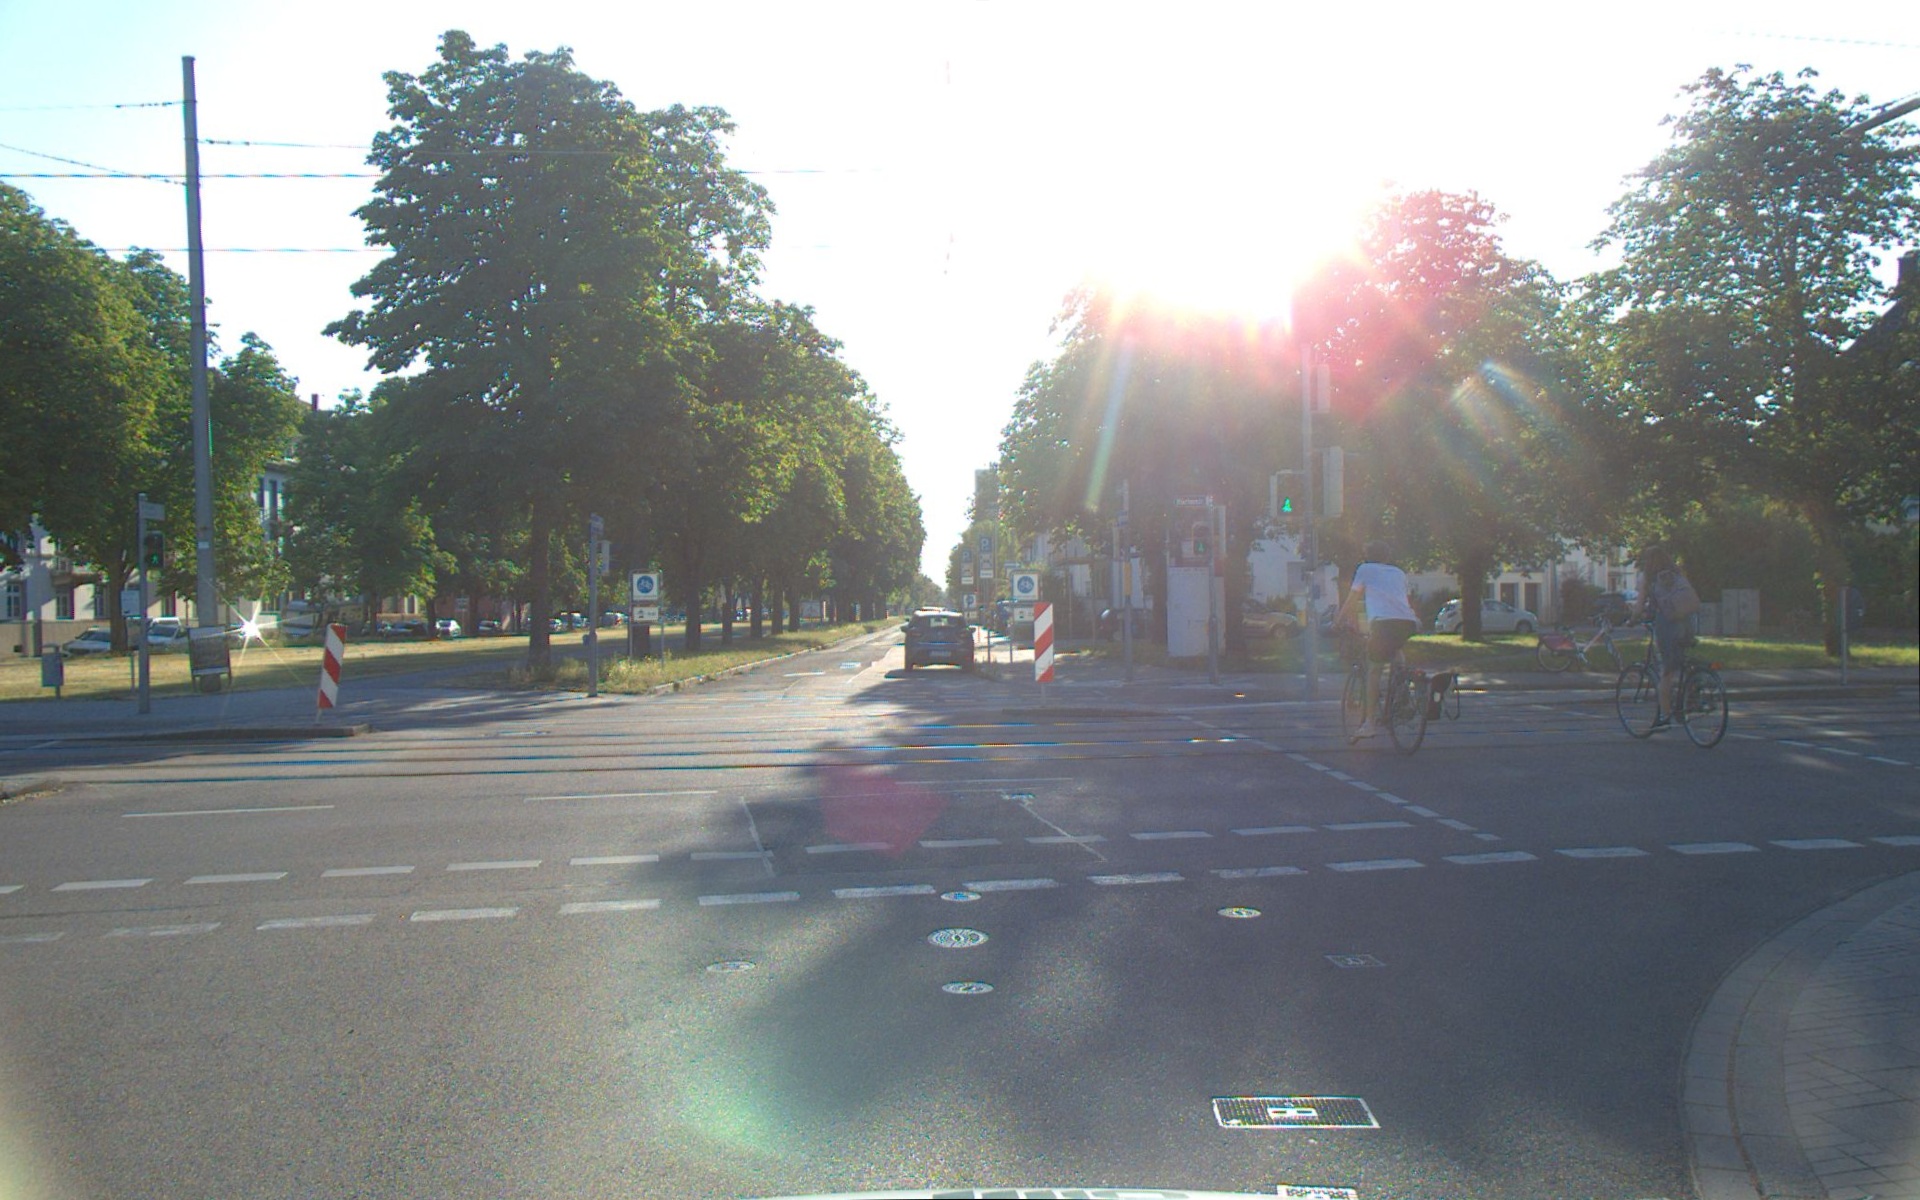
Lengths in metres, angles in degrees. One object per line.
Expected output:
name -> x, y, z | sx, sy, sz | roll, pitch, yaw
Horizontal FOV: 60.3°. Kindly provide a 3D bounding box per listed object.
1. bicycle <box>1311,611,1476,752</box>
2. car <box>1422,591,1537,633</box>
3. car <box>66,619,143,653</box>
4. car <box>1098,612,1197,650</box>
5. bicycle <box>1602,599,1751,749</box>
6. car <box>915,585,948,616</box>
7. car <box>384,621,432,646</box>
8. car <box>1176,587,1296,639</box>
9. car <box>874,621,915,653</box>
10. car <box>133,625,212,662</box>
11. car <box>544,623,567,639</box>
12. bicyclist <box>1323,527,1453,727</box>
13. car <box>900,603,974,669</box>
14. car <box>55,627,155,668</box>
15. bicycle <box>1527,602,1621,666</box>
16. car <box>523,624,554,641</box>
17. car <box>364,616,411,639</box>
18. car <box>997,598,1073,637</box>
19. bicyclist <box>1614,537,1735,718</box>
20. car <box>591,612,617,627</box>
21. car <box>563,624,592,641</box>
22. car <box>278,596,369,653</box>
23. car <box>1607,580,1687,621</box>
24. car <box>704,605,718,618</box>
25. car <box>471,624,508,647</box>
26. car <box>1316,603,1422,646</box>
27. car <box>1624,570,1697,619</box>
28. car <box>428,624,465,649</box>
bicycle -> 3.919, 0.709, 15.105 | 0.563, 1.205, 1.897 | 1, -1, -16
car -> 19.610, 0.473, 62.529 | 3.845, 1.550, 1.522 | 0, -2, -6
car -> -43.317, 1.809, 83.833 | 1.680, 1.661, 4.190 | 1, -1, 0
car -> 7.786, 1.297, 68.861 | 3.906, 1.472, 1.715 | -1, -1, -1
bicycle -> 6.529, 0.636, 15.166 | 0.481, 1.204, 1.964 | 1, 2, 0
car -> -1.752, 0.023, 100.730 | 1.953, 1.813, 3.999 | 1, 0, -2
car -> -38.091, 2.308, 114.231 | 1.841, 1.703, 4.314 | 1, -1, 0
car -> 10.361, 0.499, 62.339 | 4.155, 1.908, 2.030 | 0, -1, -1
car -> -2.938, 1.687, 74.729 | 1.675, 1.383, 4.202 | 1, -1, -1
car -> -37.668, 2.058, 79.220 | 1.760, 1.581, 4.417 | 1, 0, -2
car -> -43.619, 3.356, 178.280 | 1.606, 1.672, 3.852 | 1, -1, -2
bicyclist -> 3.895, 0.251, 15.109 | 0.801, 1.762, 0.889 | 1, -2, -17
car -> -0.520, 0.911, 41.462 | 1.690, 1.537, 4.540 | 1, -1, 1
car -> -37.812, 2.092, 73.266 | 1.952, 1.688, 4.570 | 1, -1, 1
bicycle -> 10.990, 0.610, 29.619 | 1.490, 1.108, 0.467 | -1, -2, 5
car -> -43.430, 3.368, 170.433 | 1.952, 1.688, 4.355 | 1, -1, 1
car -> -43.011, 2.098, 124.399 | 1.952, 1.688, 4.374 | 1, -1, 1
car -> 4.080, 0.976, 90.390 | 3.909, 1.854, 1.758 | -2, -6, -5
bicyclist -> 6.510, 0.253, 15.108 | 0.698, 1.590, 0.893 | 1, -2, -3
car -> -39.761, 2.174, 184.964 | 1.953, 1.688, 4.569 | -1, 0, -1
car -> -38.196, 3.240, 165.146 | 1.981, 1.688, 3.983 | 1, -1, 0
car -> -37.890, 1.418, 98.740 | 2.343, 3.186, 7.851 | 1, 0, 0
car -> 28.658, 0.013, 68.941 | 1.963, 1.579, 3.980 | -2, 0, 40
car -> -37.820, 1.756, 251.446 | 1.620, 1.972, 3.566 | 1, -3, -1
car -> -38.219, 2.894, 134.406 | 1.774, 1.812, 4.121 | 1, -1, 0
car -> 15.316, 0.913, 62.000 | 3.485, 1.542, 1.603 | -1, -1, -7
car -> 36.169, -0.274, 85.378 | 2.076, 2.378, 4.490 | 0, -2, 43
car -> -43.675, 3.106, 140.782 | 1.953, 2.049, 3.998 | 1, -1, -2
